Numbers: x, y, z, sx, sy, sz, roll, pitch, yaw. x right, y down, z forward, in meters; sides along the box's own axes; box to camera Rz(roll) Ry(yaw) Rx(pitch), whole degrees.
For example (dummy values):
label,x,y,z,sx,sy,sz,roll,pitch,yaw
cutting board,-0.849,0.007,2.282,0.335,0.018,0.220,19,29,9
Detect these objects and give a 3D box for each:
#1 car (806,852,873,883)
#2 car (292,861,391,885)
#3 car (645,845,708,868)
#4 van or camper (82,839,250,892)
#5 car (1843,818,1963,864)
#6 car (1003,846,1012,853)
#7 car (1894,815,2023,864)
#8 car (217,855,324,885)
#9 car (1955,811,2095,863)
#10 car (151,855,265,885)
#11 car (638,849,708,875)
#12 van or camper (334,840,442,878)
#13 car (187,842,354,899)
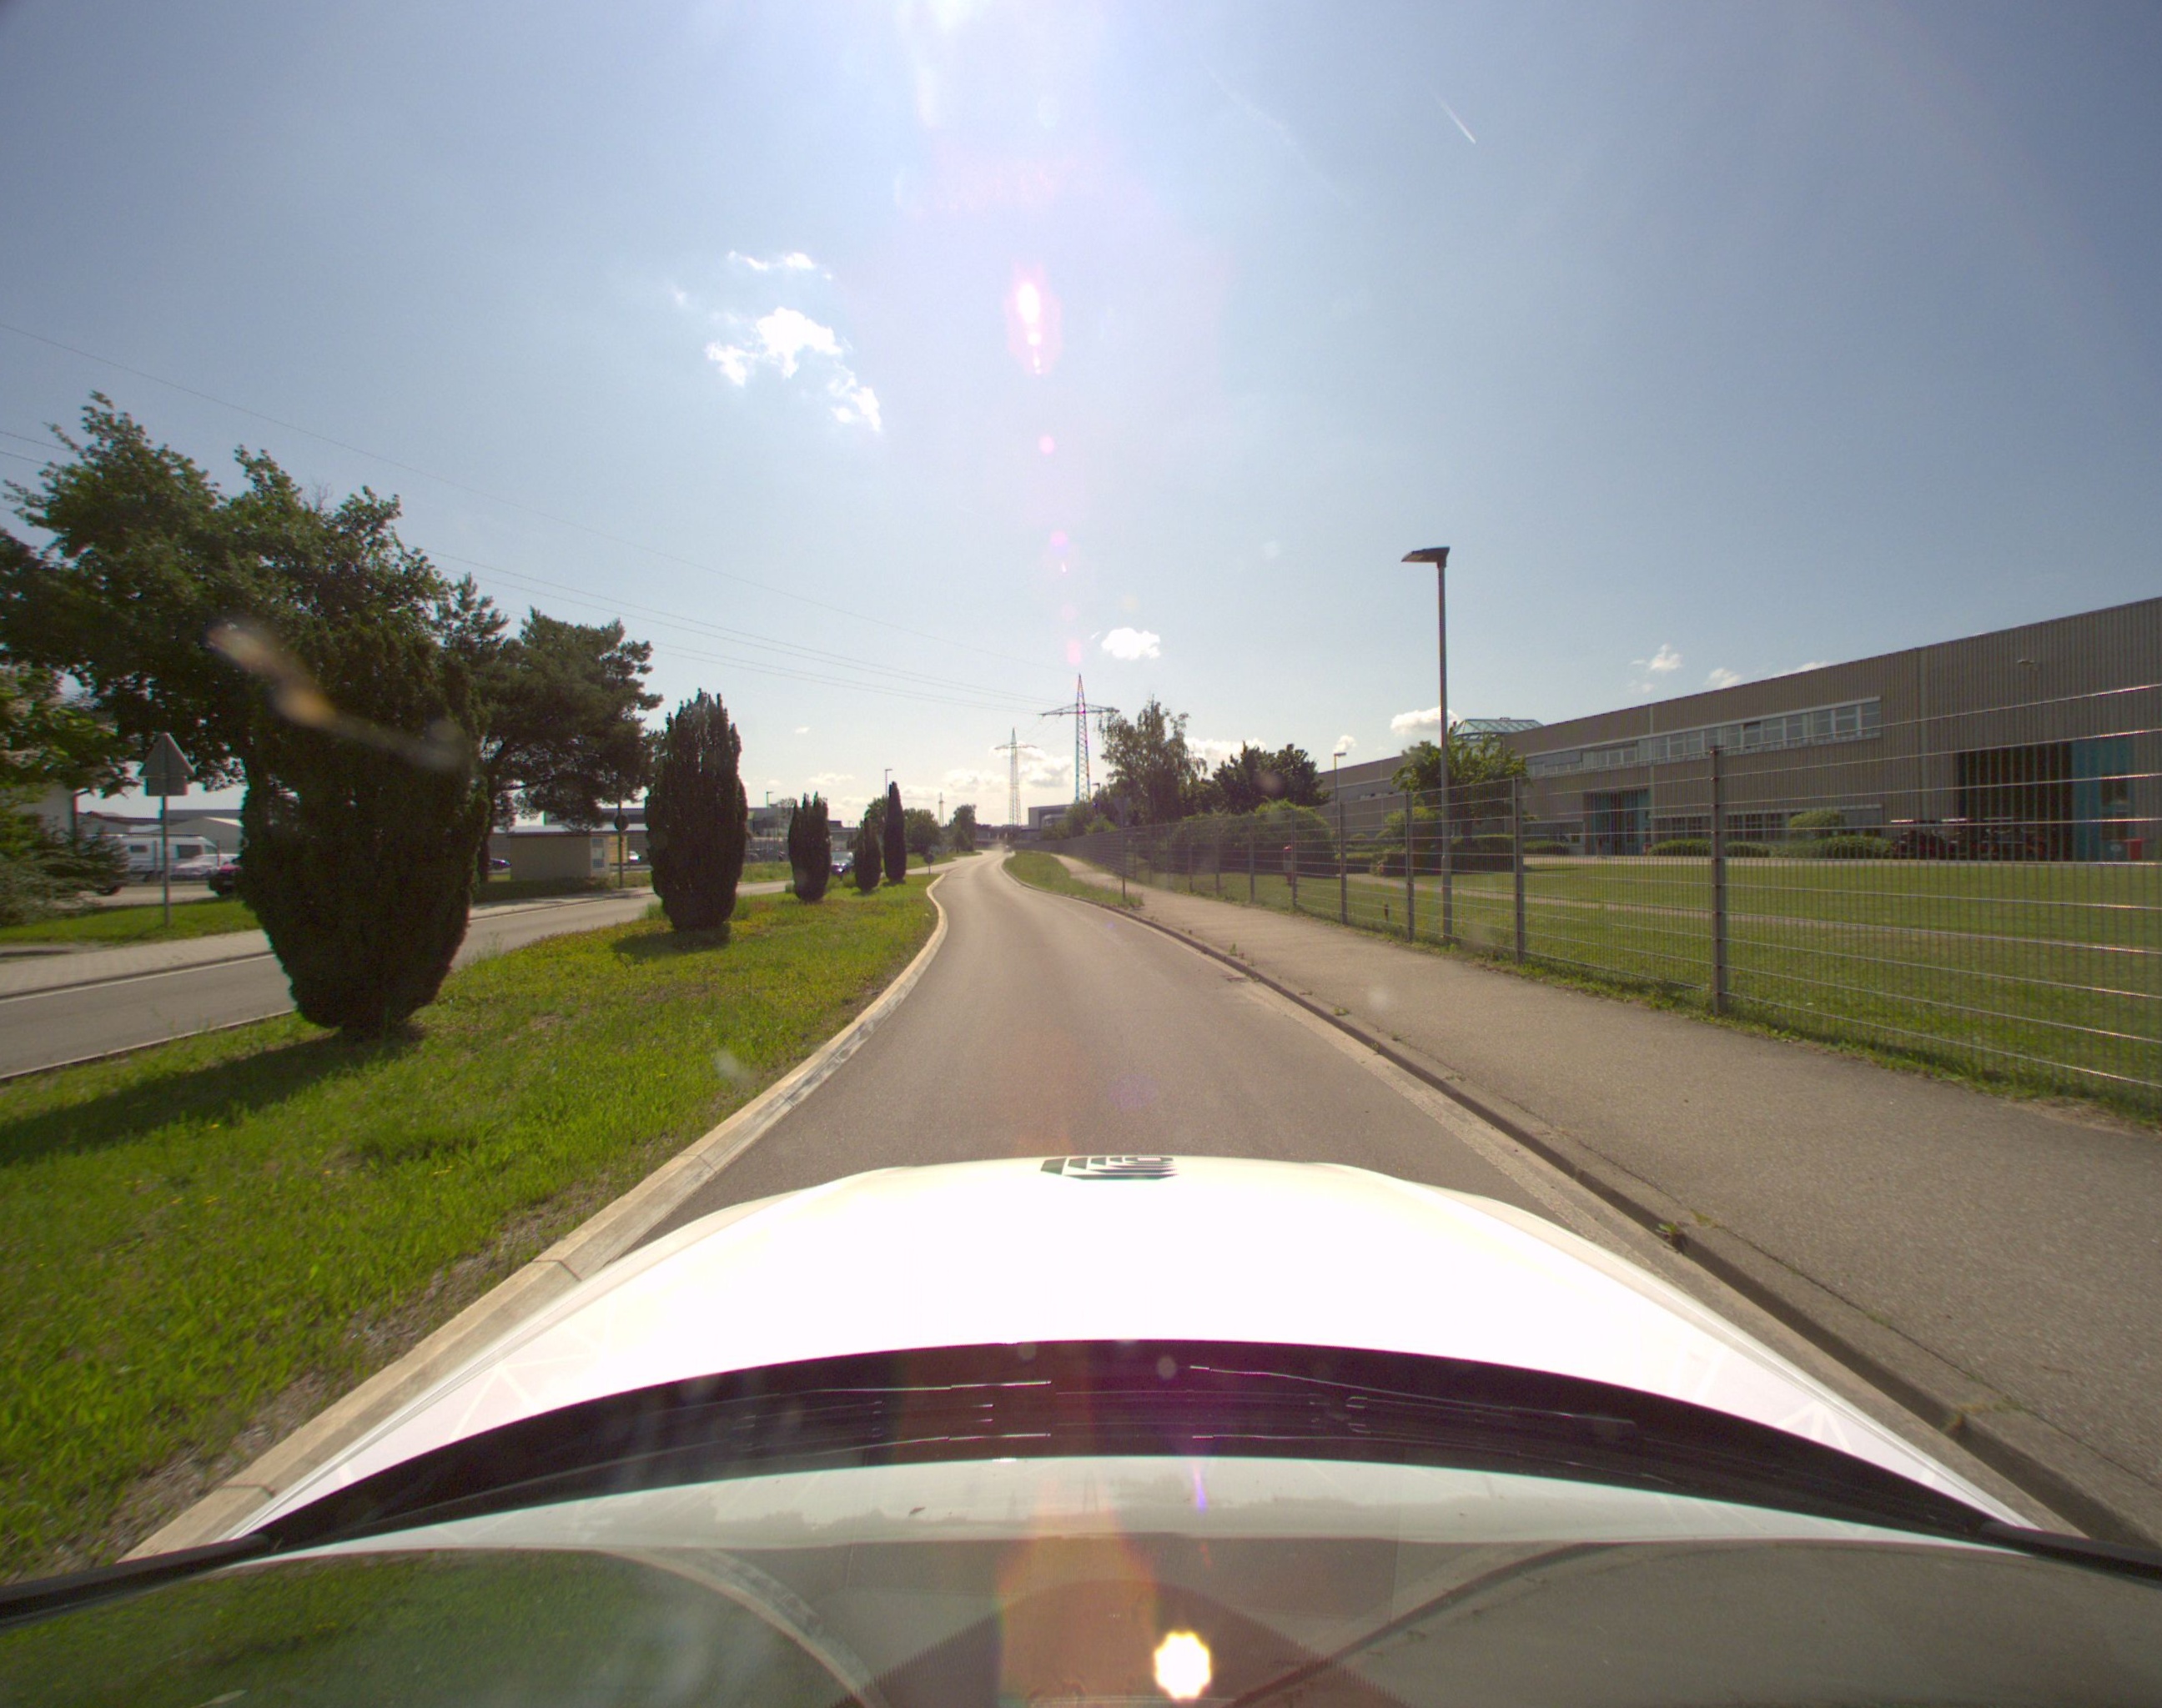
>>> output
label,x,y,z,sx,sy,sz,roll,pitch,yaw
car,-12.203,0.642,41.488,1.892,1.394,4.866,-1,0,1
car,-45.047,1.143,49.698,3.983,1.310,1.995,-1,0,-7
car,-27.231,0.156,54.838,3.583,1.401,1.783,-1,0,-32
van or camper,-48.617,0.541,43.584,1.992,2.599,6.751,-1,1,-8
car,38.461,-0.602,38.128,4.160,2.013,1.964,-1,0,-11
car,-16.131,-1.029,178.877,2.010,1.508,3.991,-1,0,-7
car,38.658,-0.646,35.910,4.160,2.013,1.964,-1,0,-11
car,-42.529,0.815,42.863,1.918,1.433,3.989,-1,1,-8
car,39.175,-0.697,33.833,4.160,2.013,1.964,-1,0,-11
car,-45.225,0.803,42.342,1.918,1.433,3.989,-1,1,-8
car,-28.511,0.563,57.016,4.128,1.704,1.704,-1,0,-38
van or camper,-45.924,0.293,54.155,5.366,2.375,1.873,-2,0,-38
car,-27.716,0.517,28.080,1.994,1.744,4.215,-1,0,-10
